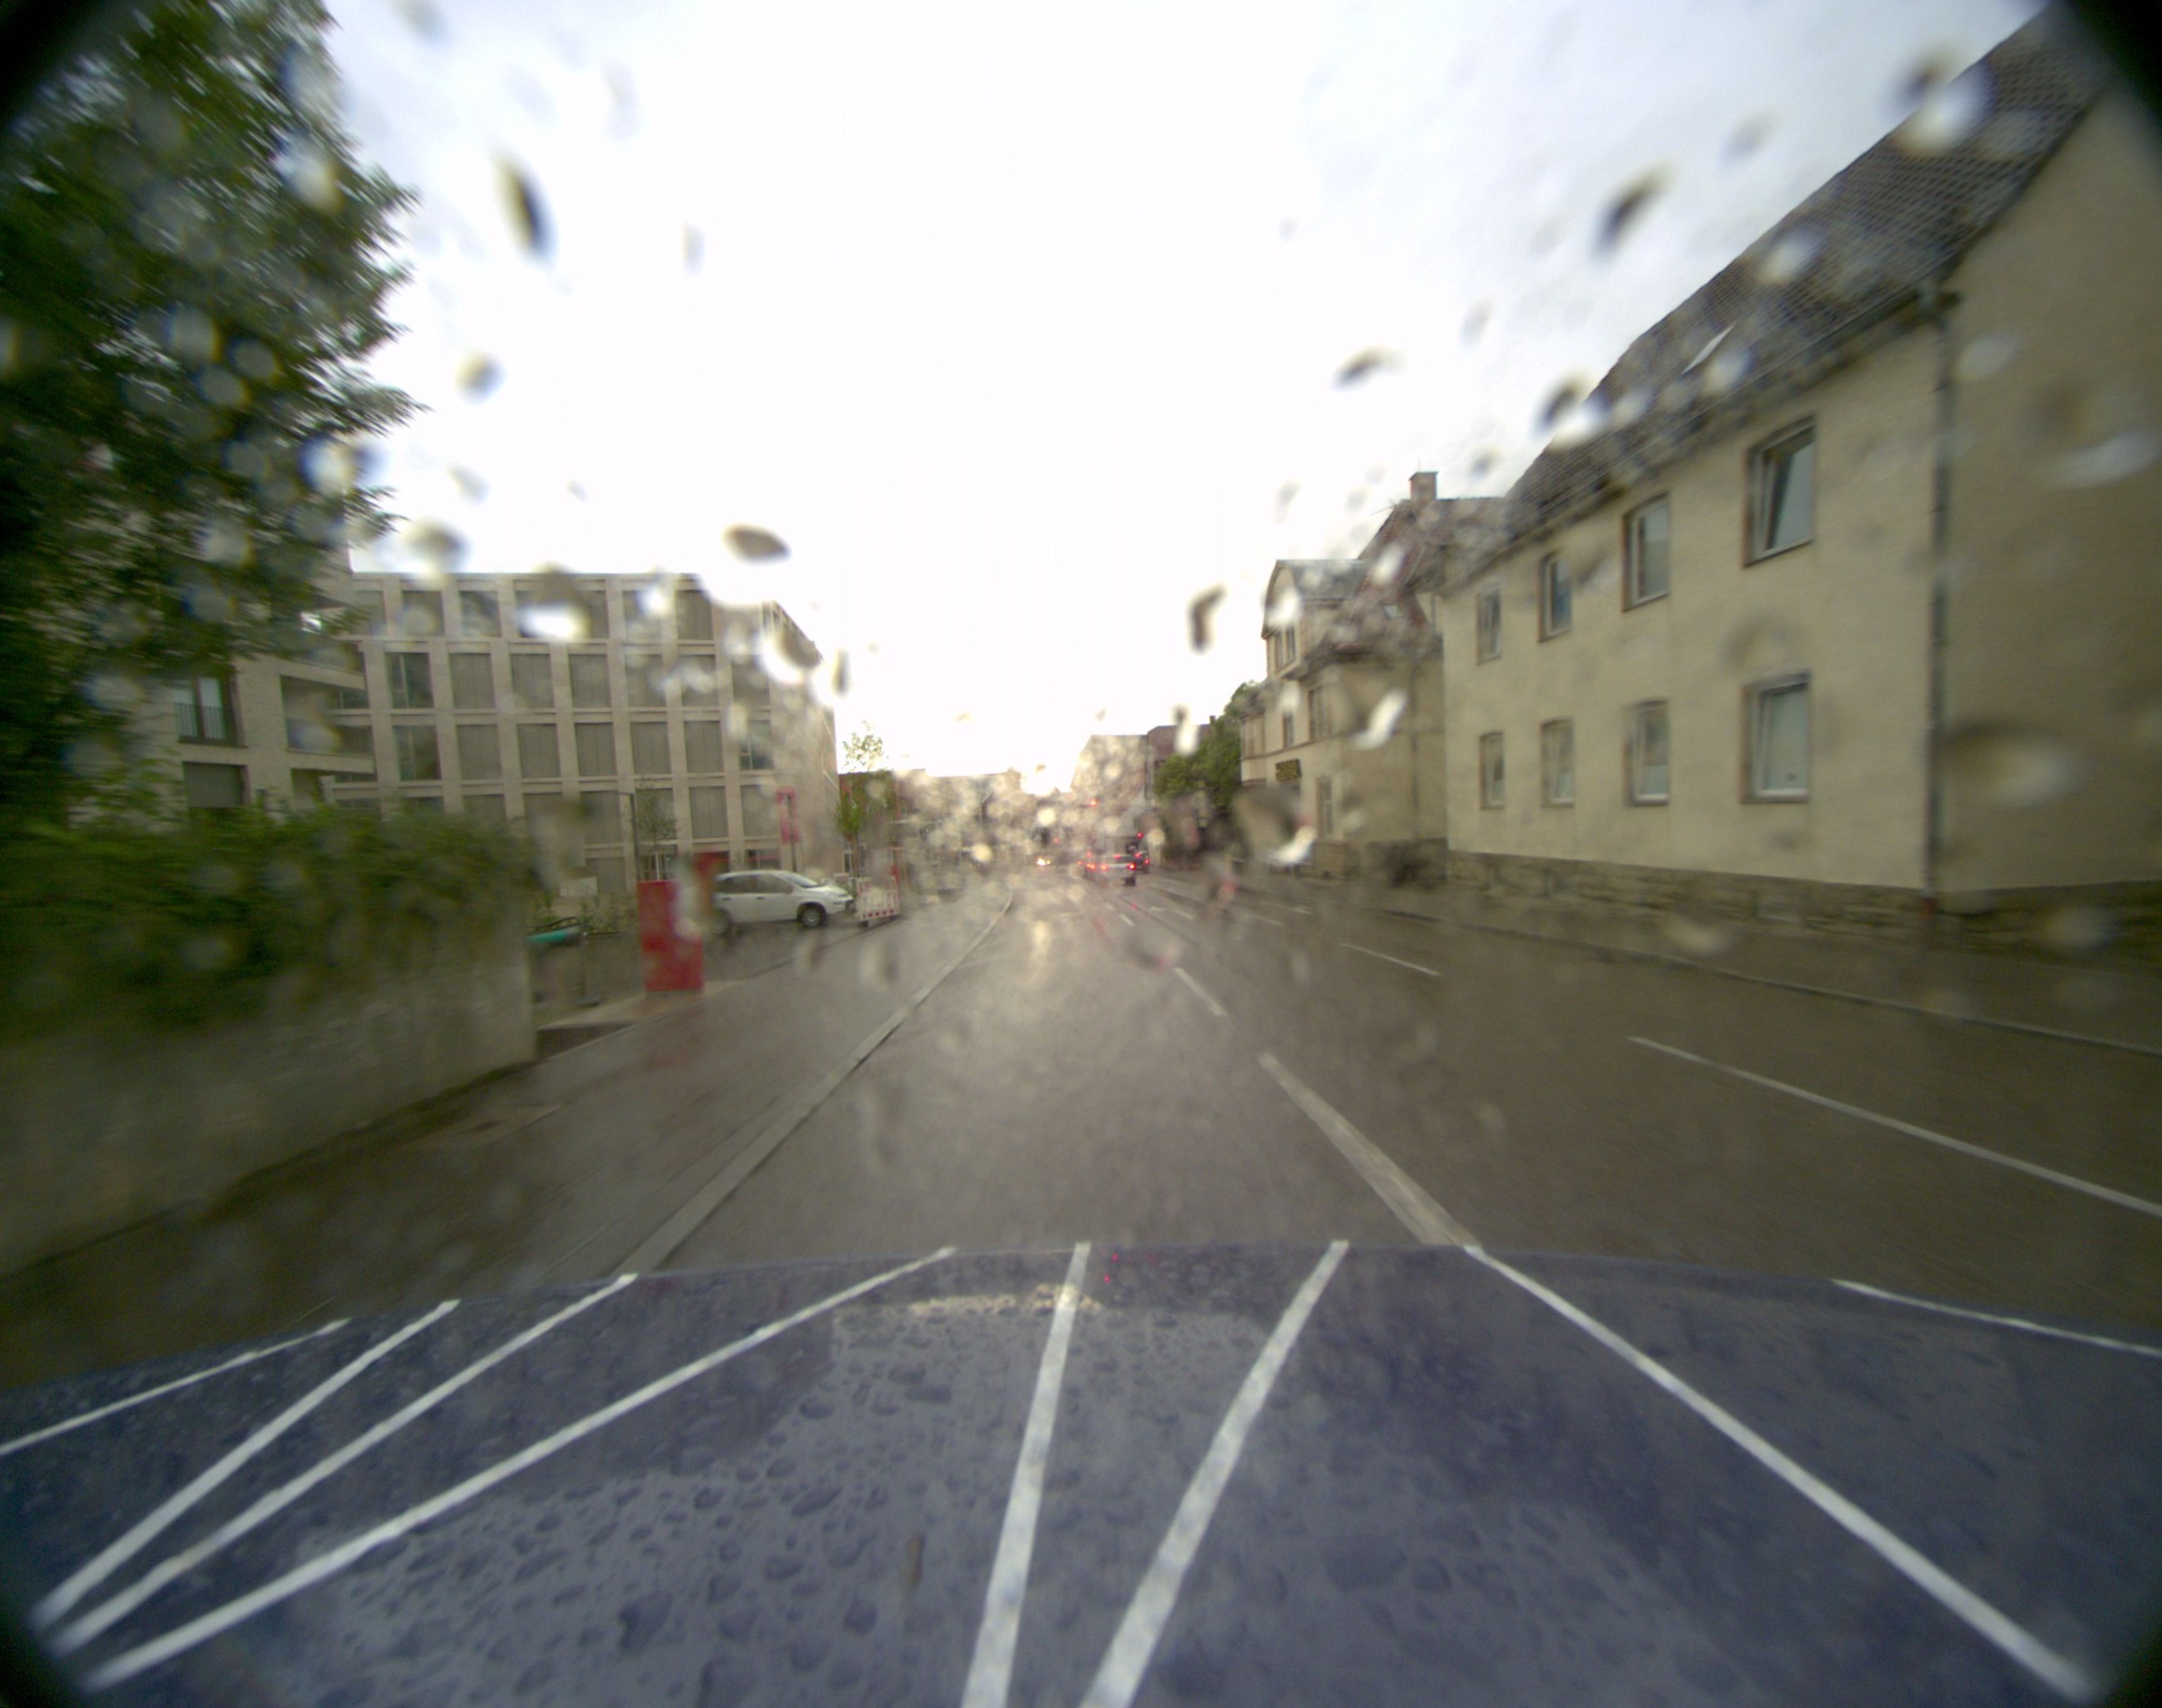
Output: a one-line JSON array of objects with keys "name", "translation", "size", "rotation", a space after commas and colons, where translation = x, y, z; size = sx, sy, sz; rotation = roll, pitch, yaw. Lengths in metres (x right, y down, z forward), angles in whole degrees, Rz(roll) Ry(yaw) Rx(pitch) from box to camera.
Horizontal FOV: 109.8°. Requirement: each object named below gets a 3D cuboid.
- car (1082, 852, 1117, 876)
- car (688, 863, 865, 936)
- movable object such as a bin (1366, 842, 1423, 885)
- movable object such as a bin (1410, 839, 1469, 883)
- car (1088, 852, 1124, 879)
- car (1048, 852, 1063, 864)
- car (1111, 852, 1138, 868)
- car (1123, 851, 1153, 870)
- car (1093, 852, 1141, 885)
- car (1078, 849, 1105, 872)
[{"name": "car", "translation": [1.179, 0.620, 50.945], "size": [1.946, 1.432, 5.014], "rotation": [-3, 0, -2]}, {"name": "car", "translation": [-7.606, 1.114, 19.252], "size": [3.677, 1.494, 1.776], "rotation": [-4, 0, -2]}, {"name": "movable object such as a bin", "translation": [9.889, 0.286, 23.991], "size": [1.283, 1.259, 1.050], "rotation": [-3, 1, -3]}, {"name": "movable object such as a bin", "translation": [11.230, 0.215, 23.854], "size": [1.283, 1.259, 1.050], "rotation": [-3, 1, -3]}, {"name": "car", "translation": [1.435, 0.625, 44.938], "size": [1.804, 1.431, 4.688], "rotation": [-3, 0, -2]}, {"name": "car", "translation": [-3.696, 0.528, 108.783], "size": [1.728, 1.538, 3.998], "rotation": [-3, 0, -6]}, {"name": "car", "translation": [3.634, 0.485, 64.153], "size": [1.853, 1.286, 4.032], "rotation": [-3, 0, -1]}, {"name": "car", "translation": [4.305, 0.467, 58.031], "size": [1.742, 1.346, 4.058], "rotation": [-3, 0, -2]}, {"name": "car", "translation": [1.678, 0.646, 36.713], "size": [1.804, 1.431, 4.687], "rotation": [-3, 0, -3]}, {"name": "car", "translation": [0.756, 0.479, 58.203], "size": [1.853, 1.654, 4.219], "rotation": [-3, 0, -1]}]
